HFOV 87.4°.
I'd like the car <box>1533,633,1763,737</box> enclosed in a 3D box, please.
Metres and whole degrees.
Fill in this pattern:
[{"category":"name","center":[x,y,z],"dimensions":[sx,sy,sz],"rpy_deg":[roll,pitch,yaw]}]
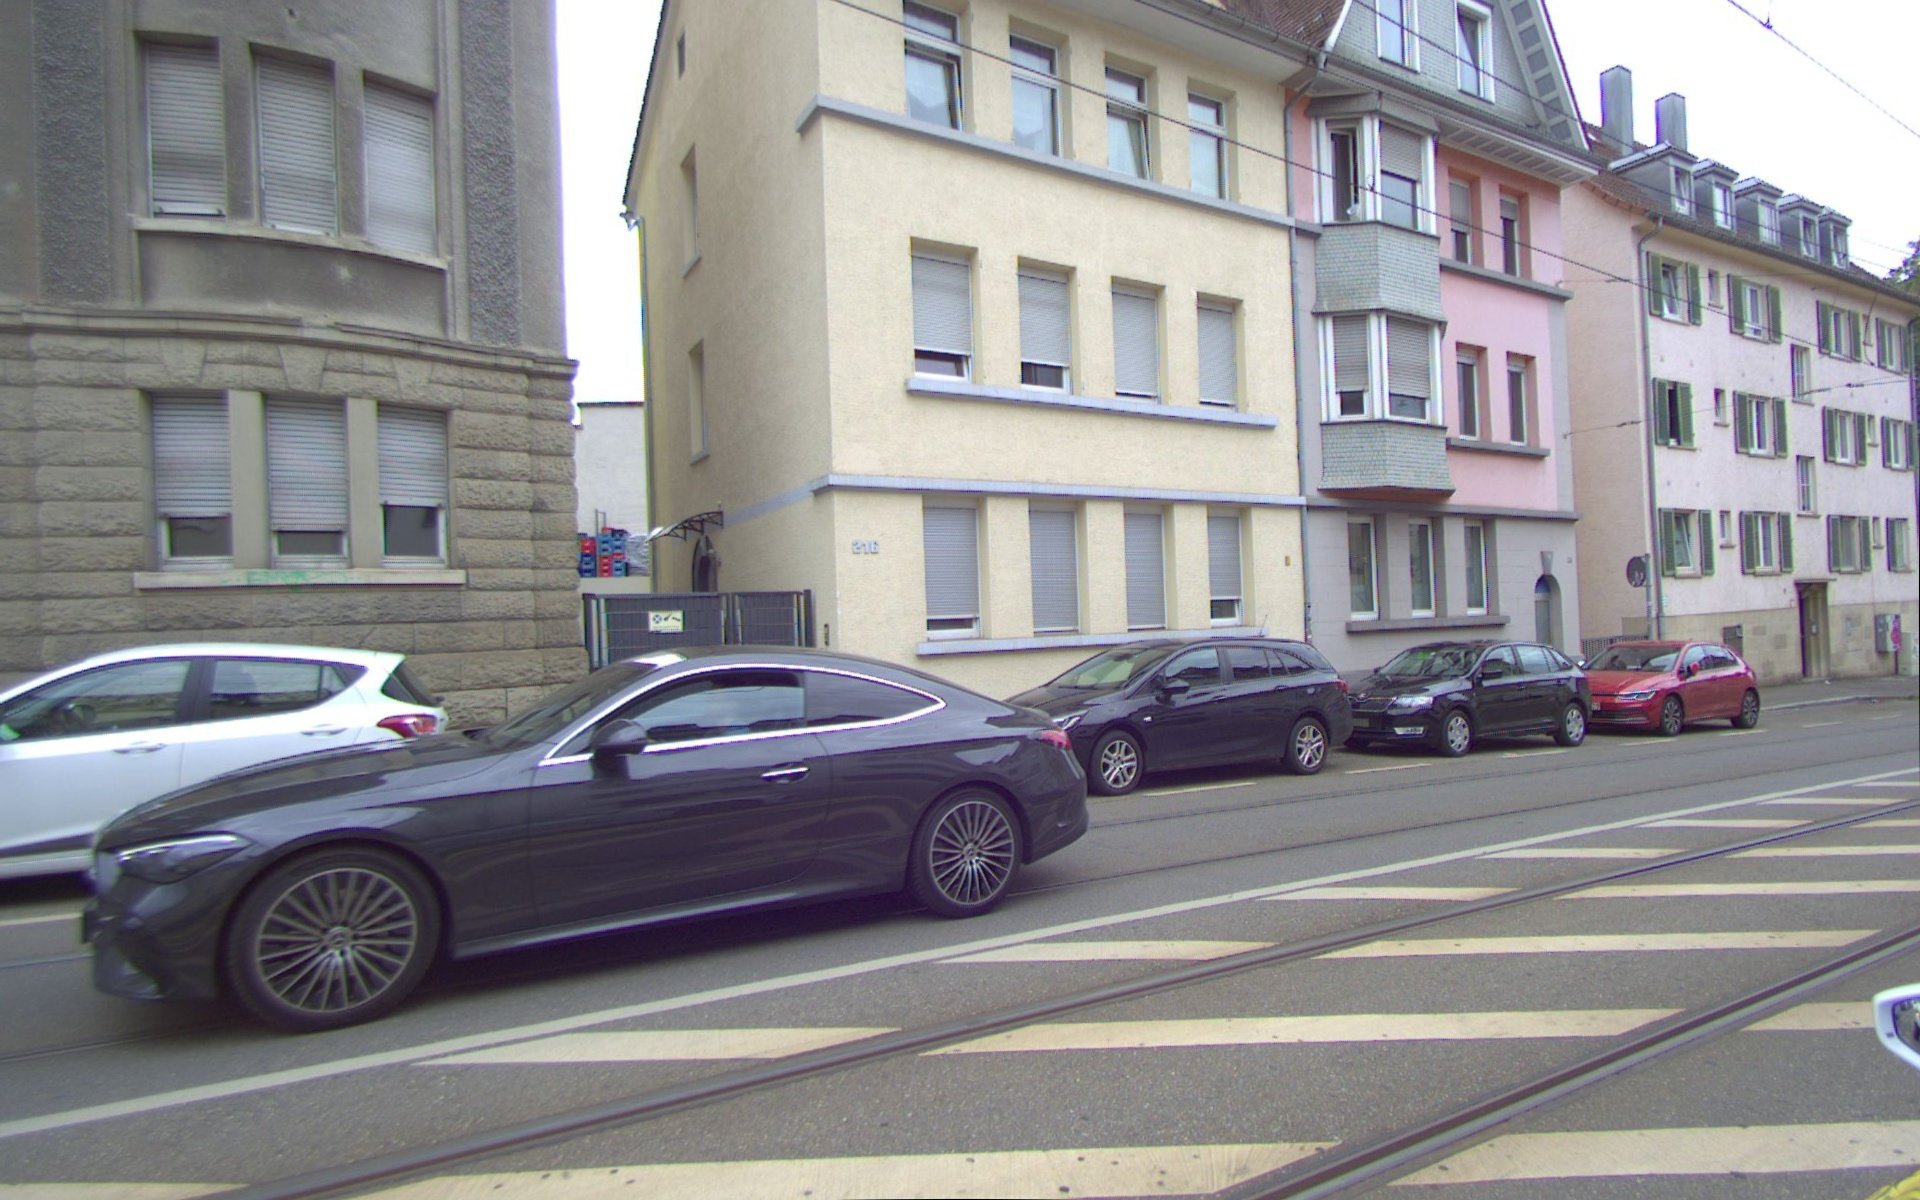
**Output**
[{"category":"car","center":[11.276,1.327,16.404],"dimensions":[4.002,1.509,1.612],"rpy_deg":[2,-3,-32]}]

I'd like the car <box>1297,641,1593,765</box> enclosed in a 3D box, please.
[{"category":"car","center":[6.639,1.293,13.667],"dimensions":[3.953,1.428,1.728],"rpy_deg":[1,-2,-30]}]

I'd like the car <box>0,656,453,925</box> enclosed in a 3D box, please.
[{"category":"car","center":[-5.367,1.108,6.497],"dimensions":[3.641,1.482,1.613],"rpy_deg":[2,-3,-30]}]

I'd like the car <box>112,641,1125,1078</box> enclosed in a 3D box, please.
[{"category":"car","center":[-1.443,0.956,5.391],"dimensions":[4.446,1.443,1.911],"rpy_deg":[1,-2,-31]}]

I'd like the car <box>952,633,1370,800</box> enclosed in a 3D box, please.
[{"category":"car","center":[2.255,1.135,10.856],"dimensions":[4.502,1.493,1.613],"rpy_deg":[2,-3,-30]}]
